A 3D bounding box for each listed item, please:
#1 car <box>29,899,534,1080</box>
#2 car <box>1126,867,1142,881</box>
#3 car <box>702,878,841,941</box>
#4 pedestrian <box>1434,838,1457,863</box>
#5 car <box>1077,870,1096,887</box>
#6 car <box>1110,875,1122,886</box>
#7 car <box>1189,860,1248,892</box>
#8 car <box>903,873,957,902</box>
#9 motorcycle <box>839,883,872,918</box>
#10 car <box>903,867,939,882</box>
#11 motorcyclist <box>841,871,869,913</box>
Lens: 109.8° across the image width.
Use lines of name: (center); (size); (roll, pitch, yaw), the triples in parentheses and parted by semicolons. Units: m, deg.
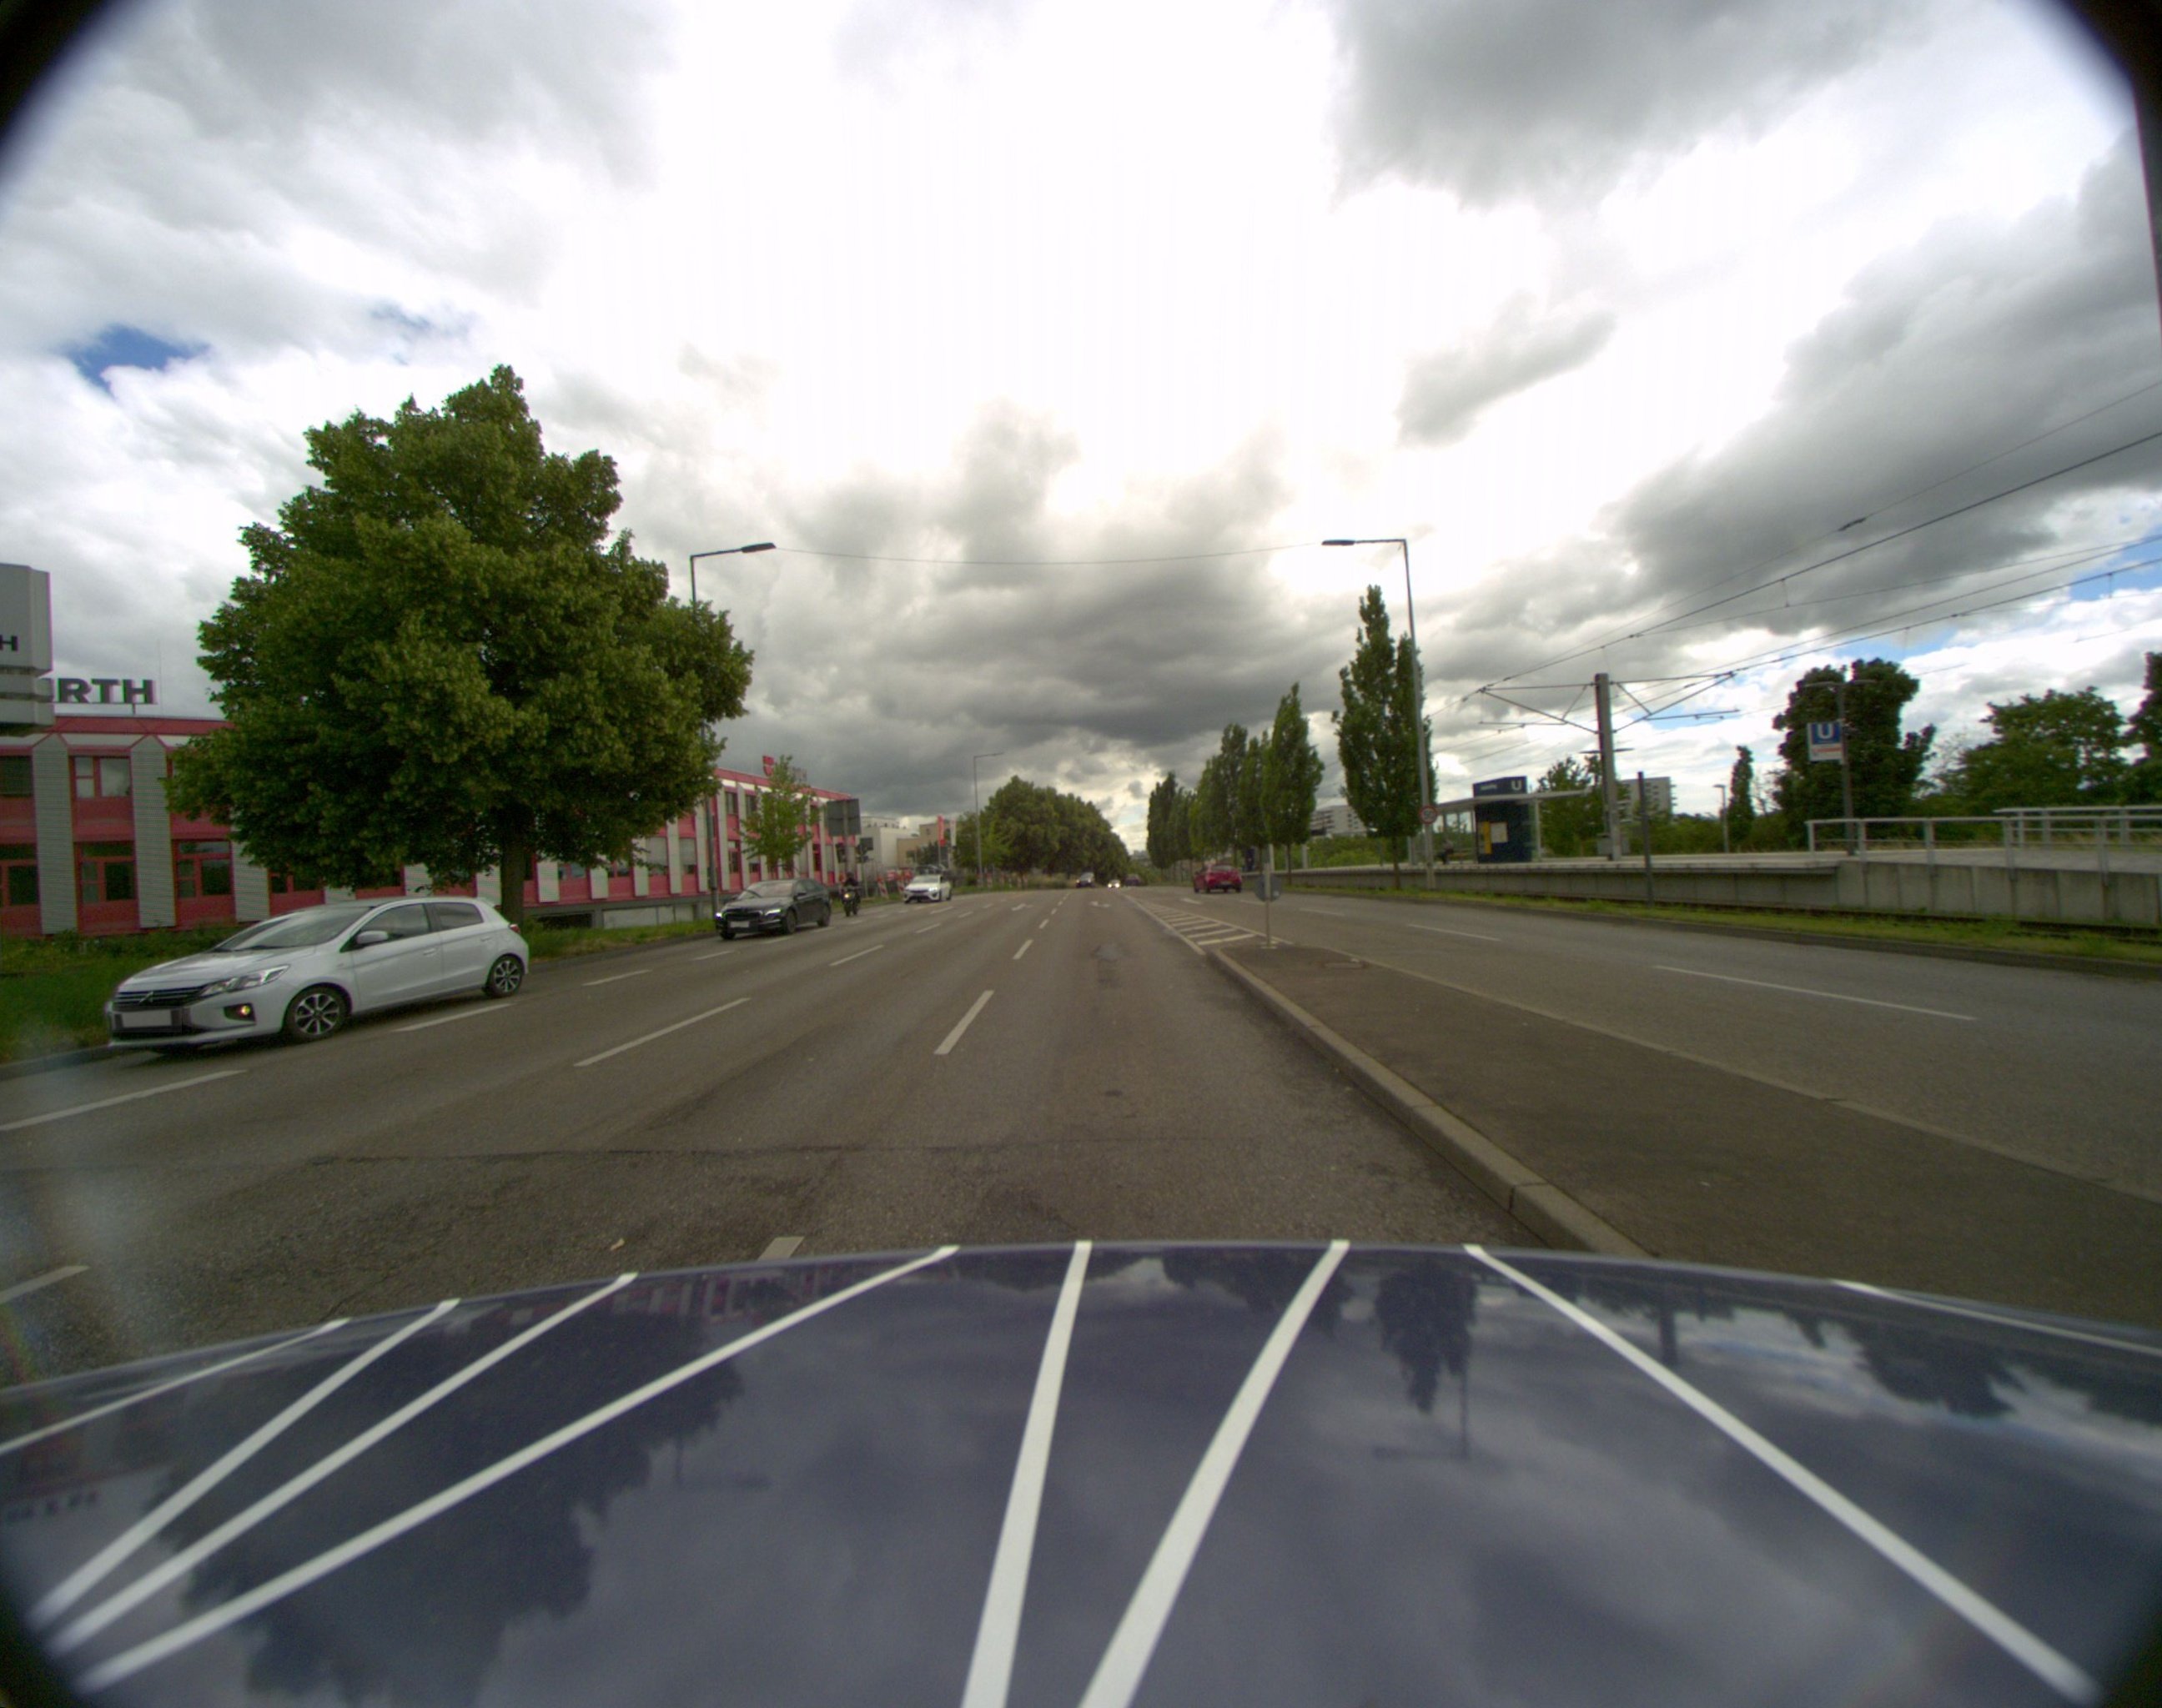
car: (-8.803, 1.371, 8.962); (1.785, 1.434, 3.836); (-4, -2, 2)
car: (6.644, 2.508, 94.945); (1.782, 1.537, 4.226); (-2, 0, 6)
car: (-8.168, 1.401, 20.549); (1.785, 1.437, 4.530); (-3, -2, 1)
pedestrian: (17.610, -0.177, 36.731); (0.663, 1.195, 0.782); (-2, 0, -7)
car: (0.610, 2.762, 86.296); (1.782, 1.744, 4.253); (-2, 0, 4)
car: (5.907, 4.500, 129.237); (1.984, 1.744, 4.253); (-2, 0, 3)
car: (6.696, 1.057, 37.497); (1.786, 1.434, 4.424); (-3, -1, -4)
car: (-7.735, 1.712, 39.329); (1.785, 1.354, 4.481); (-2, -2, 1)
motorcycle: (-8.326, 1.699, 28.122); (0.750, 1.140, 1.942); (-4, -1, -6)
car: (-21.233, 2.682, 101.000); (4.248, 1.744, 1.784); (-2, 0, 2)
motorcyclist: (-8.346, 1.409, 28.130); (0.750, 1.481, 0.933); (-4, -1, -6)
